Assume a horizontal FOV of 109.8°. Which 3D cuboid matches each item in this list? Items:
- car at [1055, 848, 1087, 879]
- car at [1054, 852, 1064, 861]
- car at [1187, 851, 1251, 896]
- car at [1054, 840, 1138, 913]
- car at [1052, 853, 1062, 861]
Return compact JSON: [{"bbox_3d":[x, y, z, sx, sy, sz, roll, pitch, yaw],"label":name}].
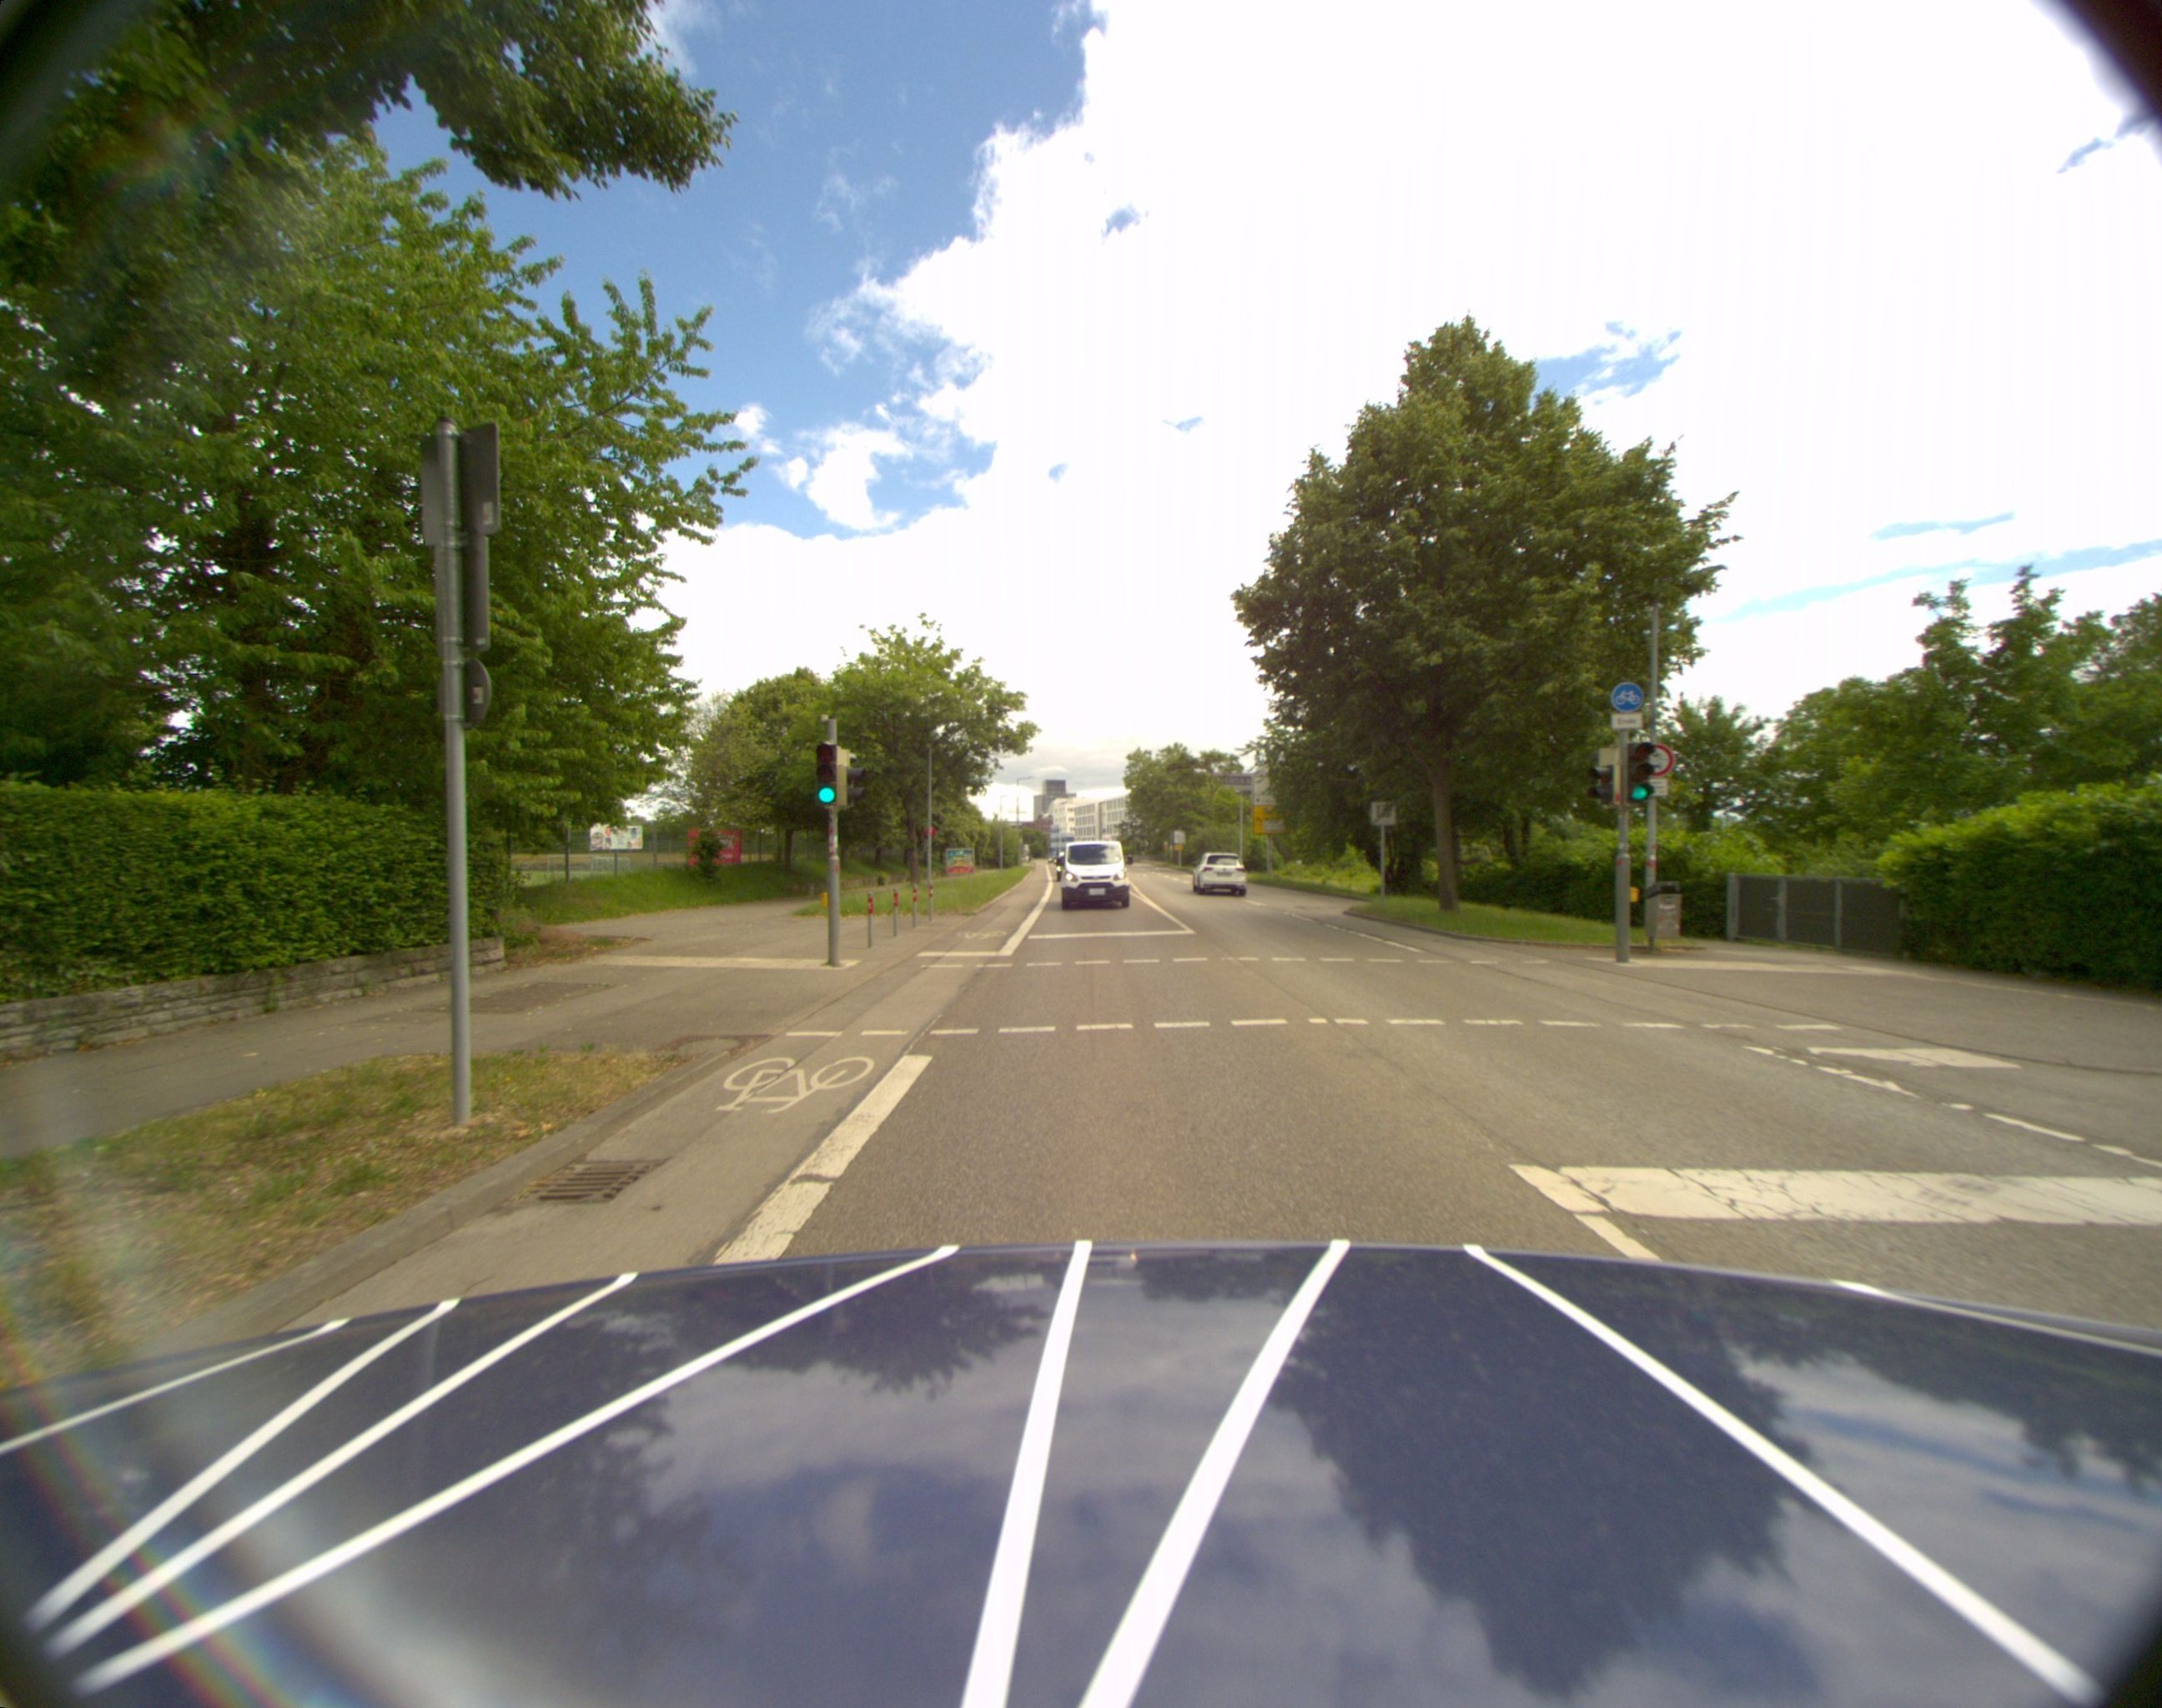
[{"bbox_3d":[-0.647,0.566,47.747,1.872,1.836,4.370,-2,0,-1],"label":"car"},{"bbox_3d":[-4.148,0.509,144.339,1.872,1.685,4.370,-2,0,-2],"label":"car"},{"bbox_3d":[5.453,0.716,30.573,1.879,1.625,4.340,1,0,2],"label":"car"},{"bbox_3d":[0.309,0.600,24.162,2.122,1.963,6.204,-2,0,-3],"label":"car"},{"bbox_3d":[-5.059,0.609,159.336,1.873,1.684,4.370,3,-1,-3],"label":"car"}]
